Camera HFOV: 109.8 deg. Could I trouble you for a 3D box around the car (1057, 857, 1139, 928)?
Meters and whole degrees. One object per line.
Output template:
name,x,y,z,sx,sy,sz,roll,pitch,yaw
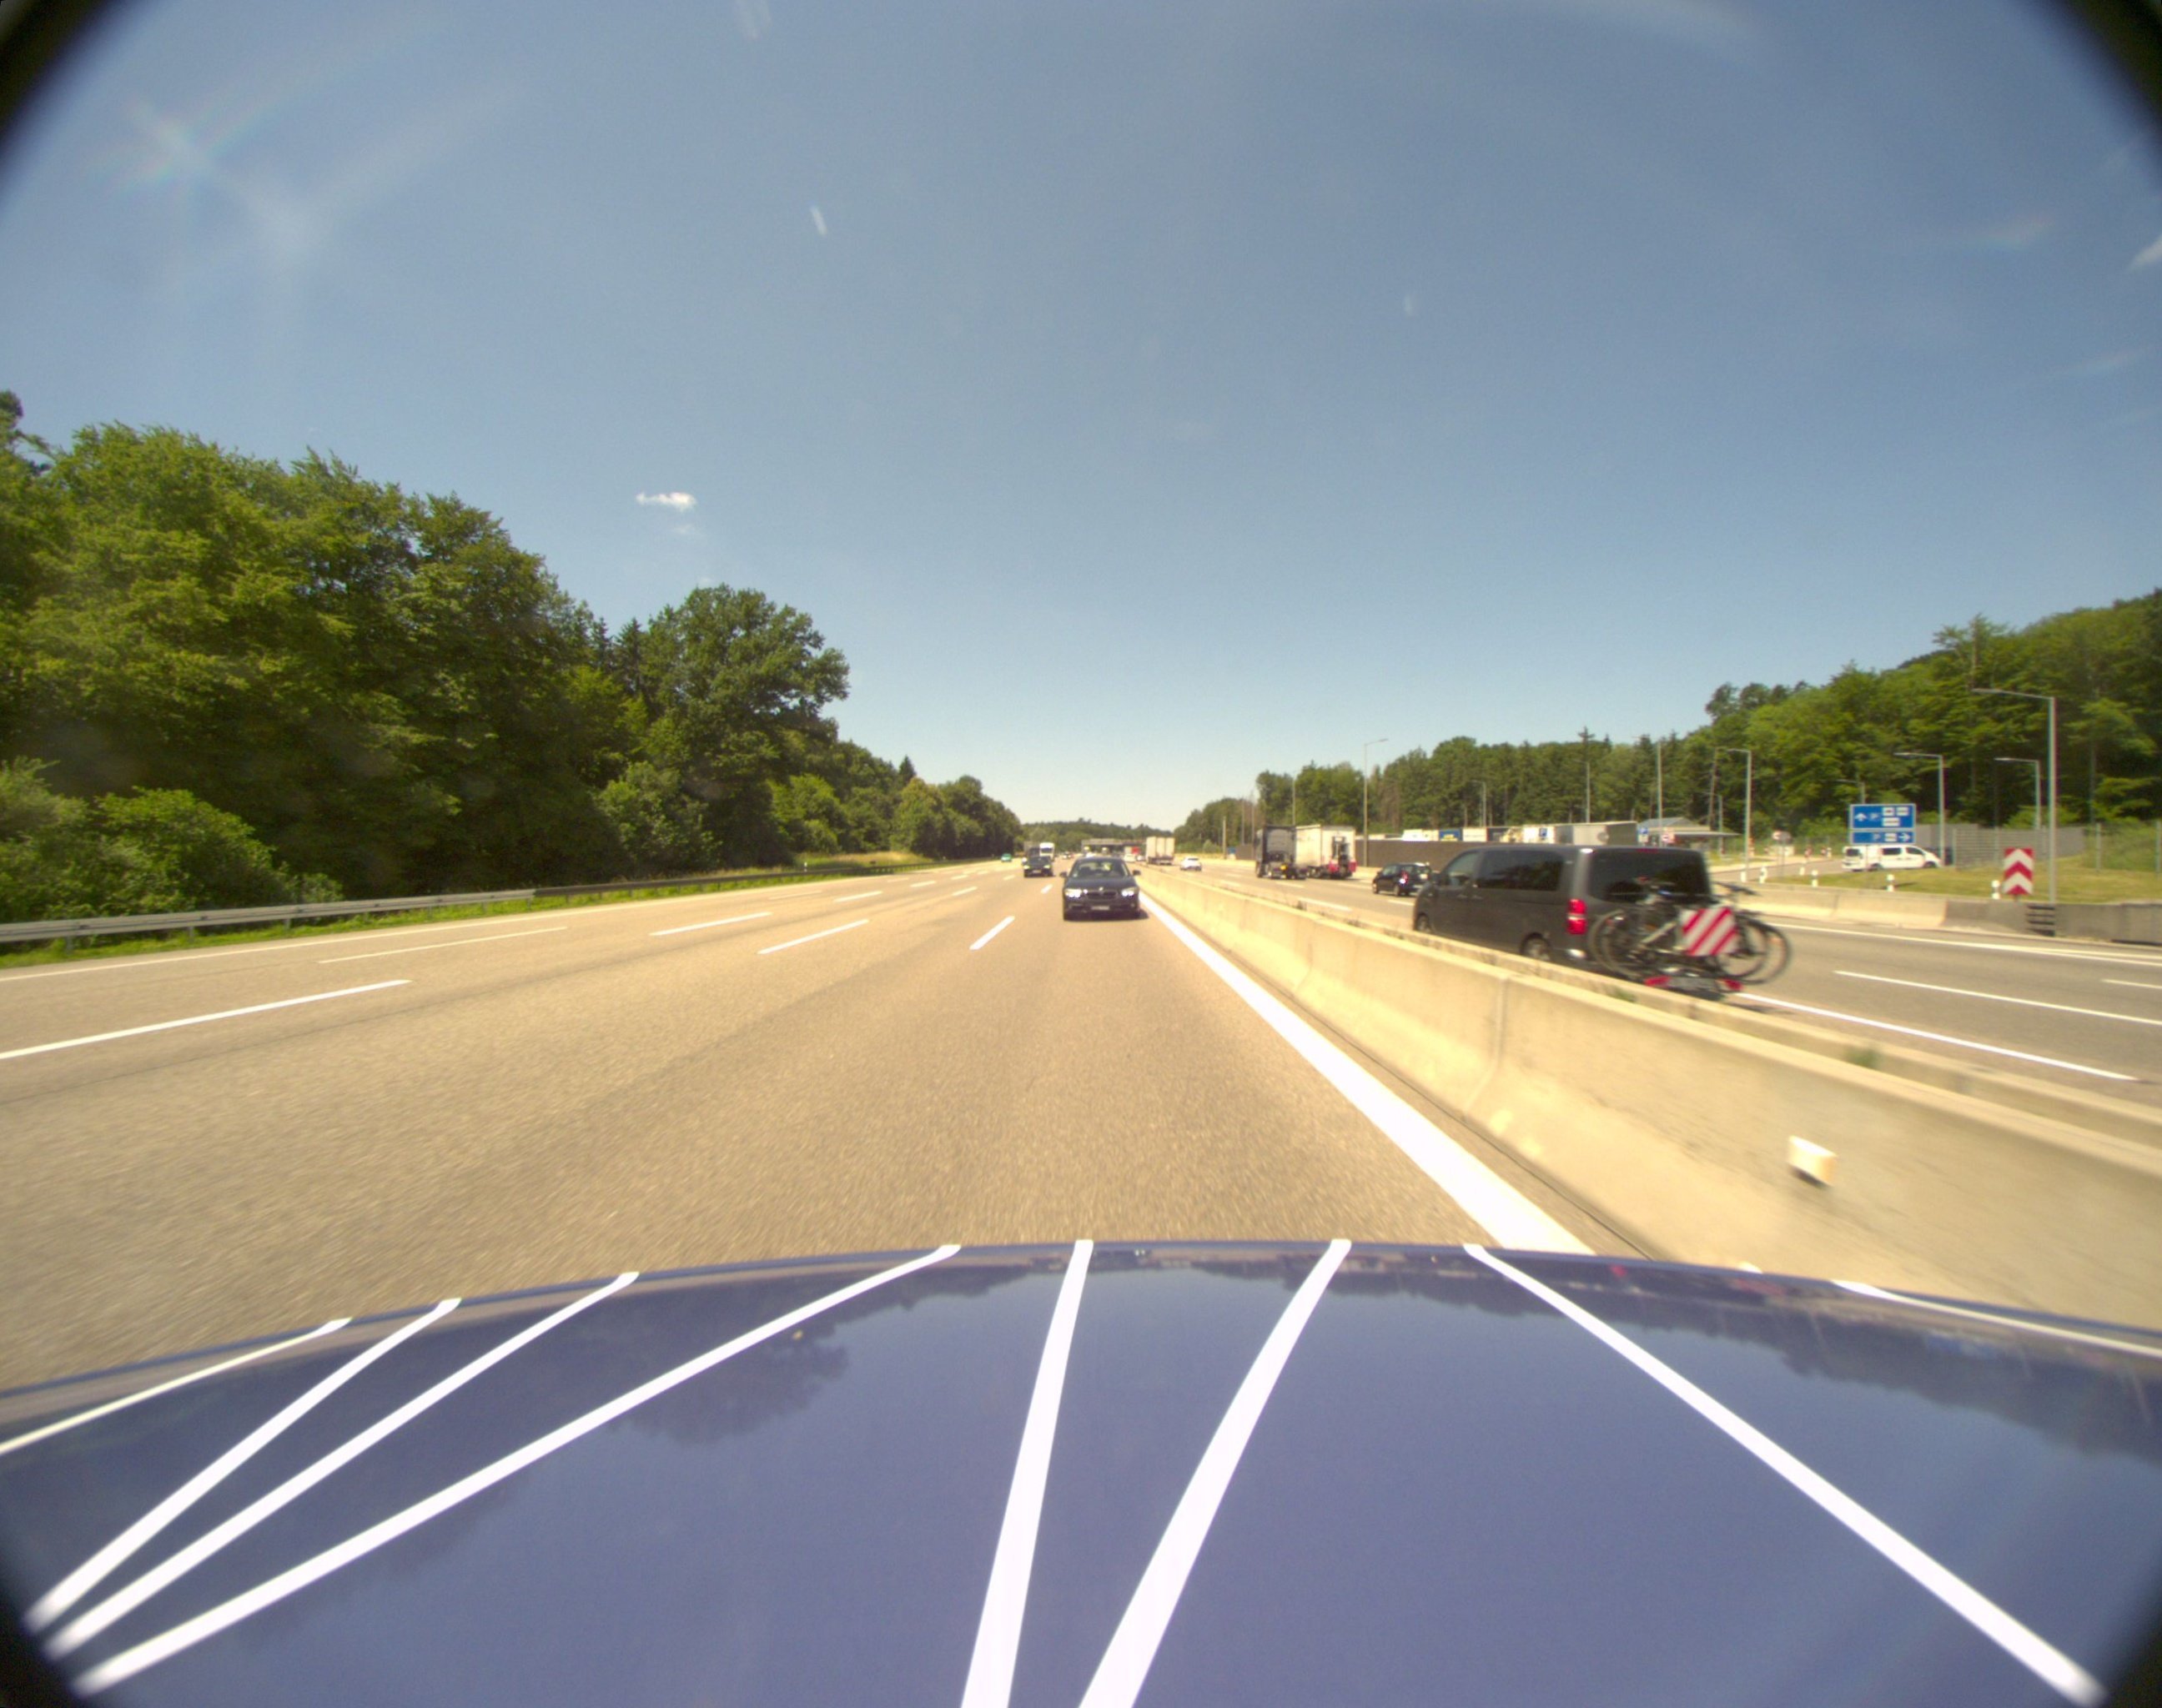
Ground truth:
car,0.445,0.839,18.830,1.741,1.450,4.542,-2,0,2

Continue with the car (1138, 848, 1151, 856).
car,12.303,-0.354,147.362,1.999,1.478,5.018,2,1,-1

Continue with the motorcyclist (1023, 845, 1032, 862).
motorcyclist,-6.021,-0.091,85.468,0.914,1.926,0.905,0,1,-1

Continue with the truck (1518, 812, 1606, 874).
truck,47.567,-1.026,74.727,16.745,5.580,3.441,-1,1,-44

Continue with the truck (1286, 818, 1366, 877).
truck,18.695,-0.511,58.827,2.842,4.173,10.595,0,1,1

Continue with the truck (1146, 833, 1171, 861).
truck,11.893,-1.075,117.359,3.055,4.113,6.948,2,1,1

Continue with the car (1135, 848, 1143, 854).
car,18.266,-0.977,239.492,1.998,1.763,5.923,1,1,1

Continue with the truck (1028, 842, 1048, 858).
truck,-8.246,-0.757,145.445,2.660,2.839,10.886,1,1,3

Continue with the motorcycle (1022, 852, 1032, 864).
motorcycle,-6.037,0.401,85.442,0.925,1.311,2.998,0,1,1

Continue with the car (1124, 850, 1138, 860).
car,7.547,0.144,115.652,1.752,1.449,4.155,0,1,-1

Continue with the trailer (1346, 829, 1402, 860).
trailer,50.938,-1.618,131.687,14.597,5.043,3.120,-1,1,-44

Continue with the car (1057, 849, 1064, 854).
car,-6.456,-0.883,239.977,1.747,1.529,4.127,1,1,1

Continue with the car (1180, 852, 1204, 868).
car,11.230,0.609,77.103,1.727,1.498,4.460,0,1,-1

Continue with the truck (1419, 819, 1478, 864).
truck,48.374,-1.561,99.893,11.562,5.580,3.219,-1,1,-44

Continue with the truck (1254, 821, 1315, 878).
truck,14.550,-0.313,54.859,2.584,3.819,7.016,1,1,1

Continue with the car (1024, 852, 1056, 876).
car,-2.688,0.642,50.869,1.834,1.454,4.204,1,1,1

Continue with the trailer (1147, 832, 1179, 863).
trailer,11.775,-0.968,110.424,3.030,4.201,14.466,1,1,1

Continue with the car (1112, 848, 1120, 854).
car,9.415,-0.887,204.191,1.998,1.653,5.754,1,1,0

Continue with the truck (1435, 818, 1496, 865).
truck,47.859,-1.503,94.393,11.562,5.580,3.219,-1,1,-44

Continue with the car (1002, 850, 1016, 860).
car,-12.637,0.090,133.725,1.998,1.671,4.127,1,1,3

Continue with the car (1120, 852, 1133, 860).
car,8.568,0.337,142.625,1.999,1.478,5.135,0,1,-1

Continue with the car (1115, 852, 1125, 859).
car,8.974,0.267,174.188,1.875,1.538,4.591,0,1,-1

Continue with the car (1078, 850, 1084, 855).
car,0.017,-0.426,251.201,1.910,1.450,4.126,1,1,-1

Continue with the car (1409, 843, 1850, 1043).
car,6.588,0.851,10.280,1.903,1.942,5.656,1,1,1

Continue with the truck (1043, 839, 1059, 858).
truck,-5.260,-1.063,133.985,2.428,3.237,8.688,1,1,0

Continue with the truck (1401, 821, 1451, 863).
truck,46.932,-1.606,103.268,8.506,5.580,3.219,-1,1,-44

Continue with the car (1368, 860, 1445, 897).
car,14.296,1.037,33.623,1.757,1.478,3.814,2,1,0

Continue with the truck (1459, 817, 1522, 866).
truck,49.109,-1.451,90.911,11.562,5.580,3.358,-1,1,-44

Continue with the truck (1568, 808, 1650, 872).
truck,50.985,-1.241,73.022,16.745,5.580,3.214,-1,1,-44

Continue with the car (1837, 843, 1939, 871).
car,59.290,0.185,55.923,4.733,2.002,2.088,0,1,15

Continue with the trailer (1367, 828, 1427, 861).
trailer,50.608,-1.506,121.365,14.597,5.043,3.214,0,1,-43

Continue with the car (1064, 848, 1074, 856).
car,-2.601,-0.399,167.565,1.998,1.671,4.127,1,1,3

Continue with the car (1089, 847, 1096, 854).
car,3.235,-0.902,213.431,1.998,1.935,4.128,0,0,3
